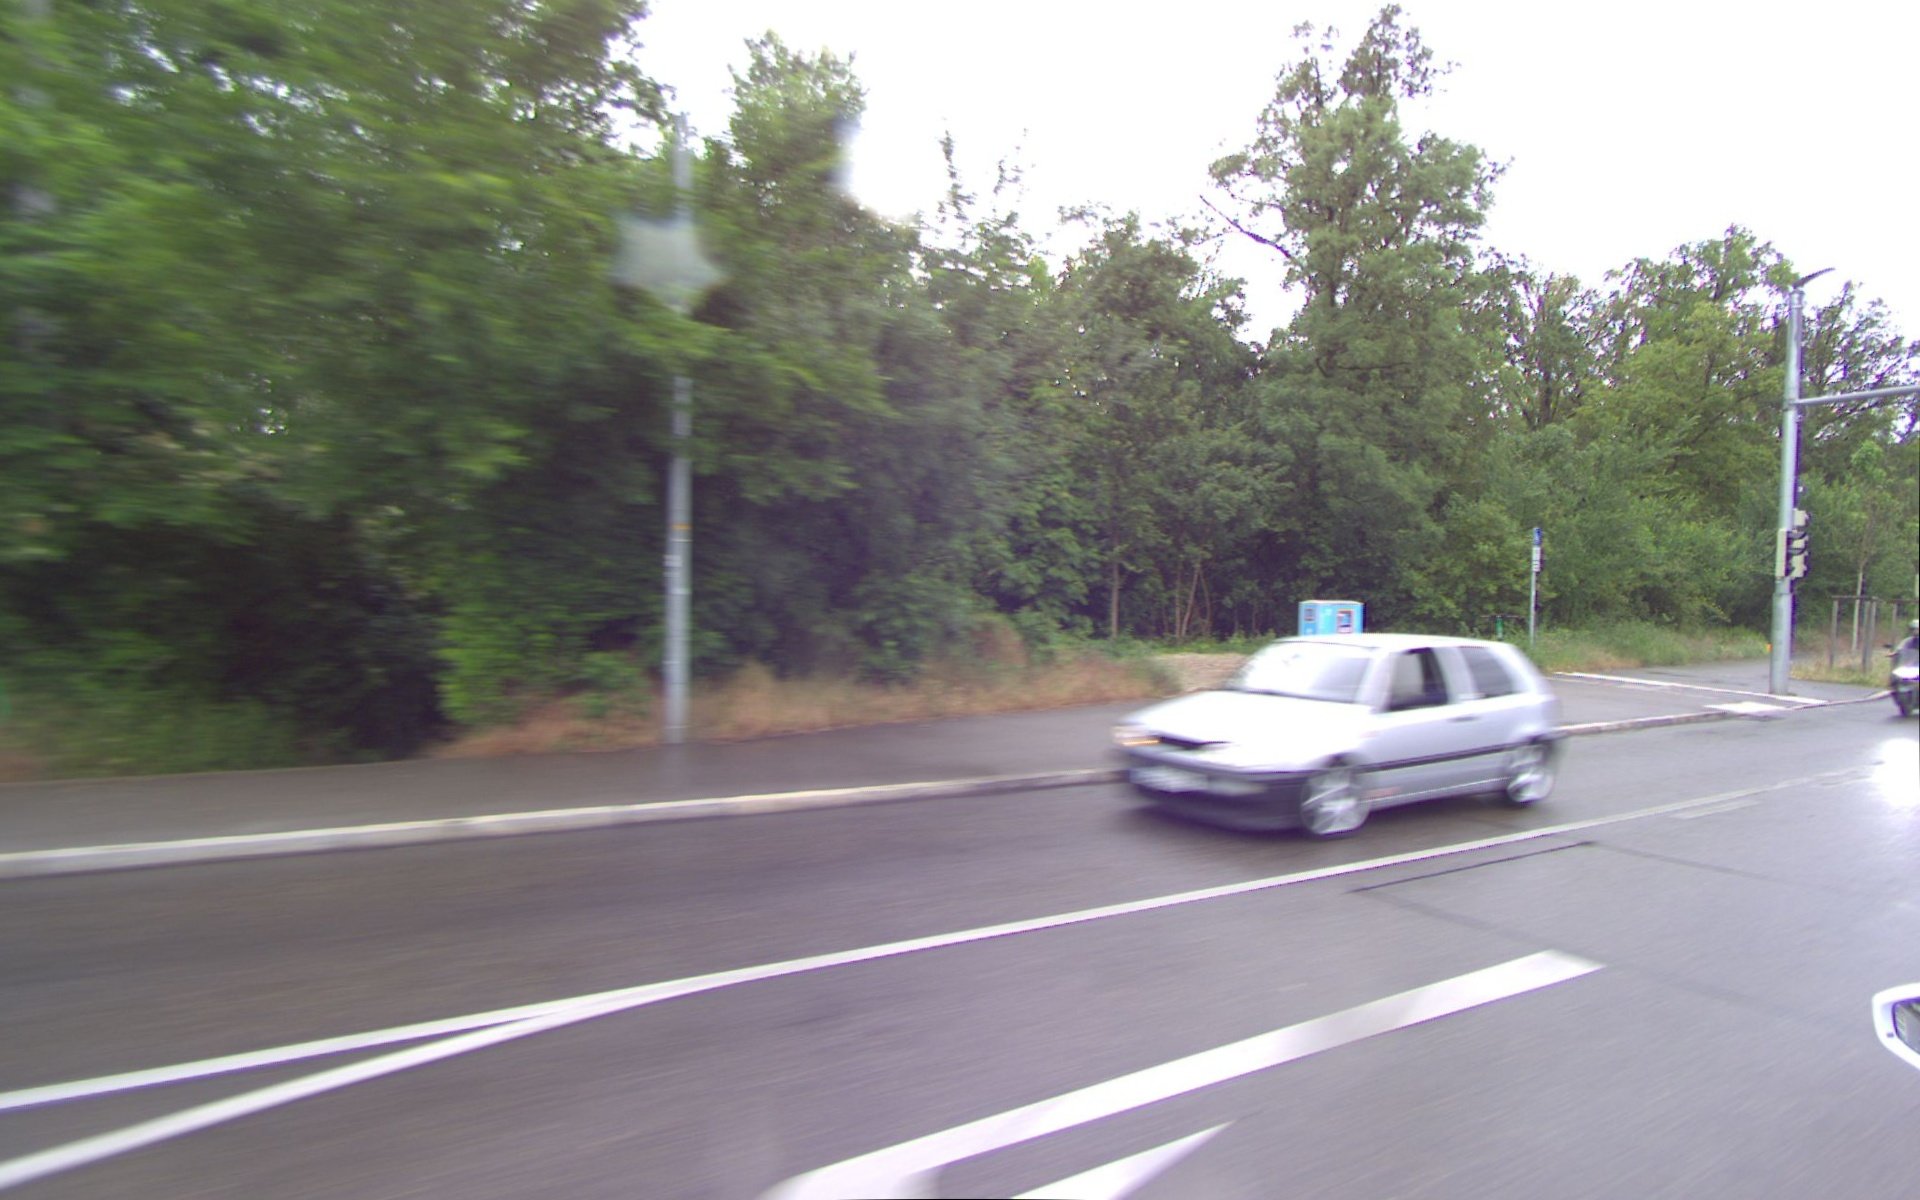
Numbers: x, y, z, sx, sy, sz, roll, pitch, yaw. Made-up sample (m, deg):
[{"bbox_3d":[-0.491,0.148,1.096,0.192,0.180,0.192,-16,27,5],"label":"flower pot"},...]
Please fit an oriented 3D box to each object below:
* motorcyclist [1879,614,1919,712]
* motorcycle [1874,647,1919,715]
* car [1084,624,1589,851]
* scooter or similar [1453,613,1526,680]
[{"bbox_3d":[16.529,1.077,17.358,0.917,1.654,0.741,1,0,-33],"label":"motorcyclist"},{"bbox_3d":[16.419,1.374,17.281,1.978,1.065,0.590,1,0,-35],"label":"motorcycle"},{"bbox_3d":[3.158,0.904,8.144,4.164,1.370,1.730,1,0,-33],"label":"car"},{"bbox_3d":[10.186,0.889,19.319,1.451,1.229,0.515,1,1,-29],"label":"scooter or similar"}]
